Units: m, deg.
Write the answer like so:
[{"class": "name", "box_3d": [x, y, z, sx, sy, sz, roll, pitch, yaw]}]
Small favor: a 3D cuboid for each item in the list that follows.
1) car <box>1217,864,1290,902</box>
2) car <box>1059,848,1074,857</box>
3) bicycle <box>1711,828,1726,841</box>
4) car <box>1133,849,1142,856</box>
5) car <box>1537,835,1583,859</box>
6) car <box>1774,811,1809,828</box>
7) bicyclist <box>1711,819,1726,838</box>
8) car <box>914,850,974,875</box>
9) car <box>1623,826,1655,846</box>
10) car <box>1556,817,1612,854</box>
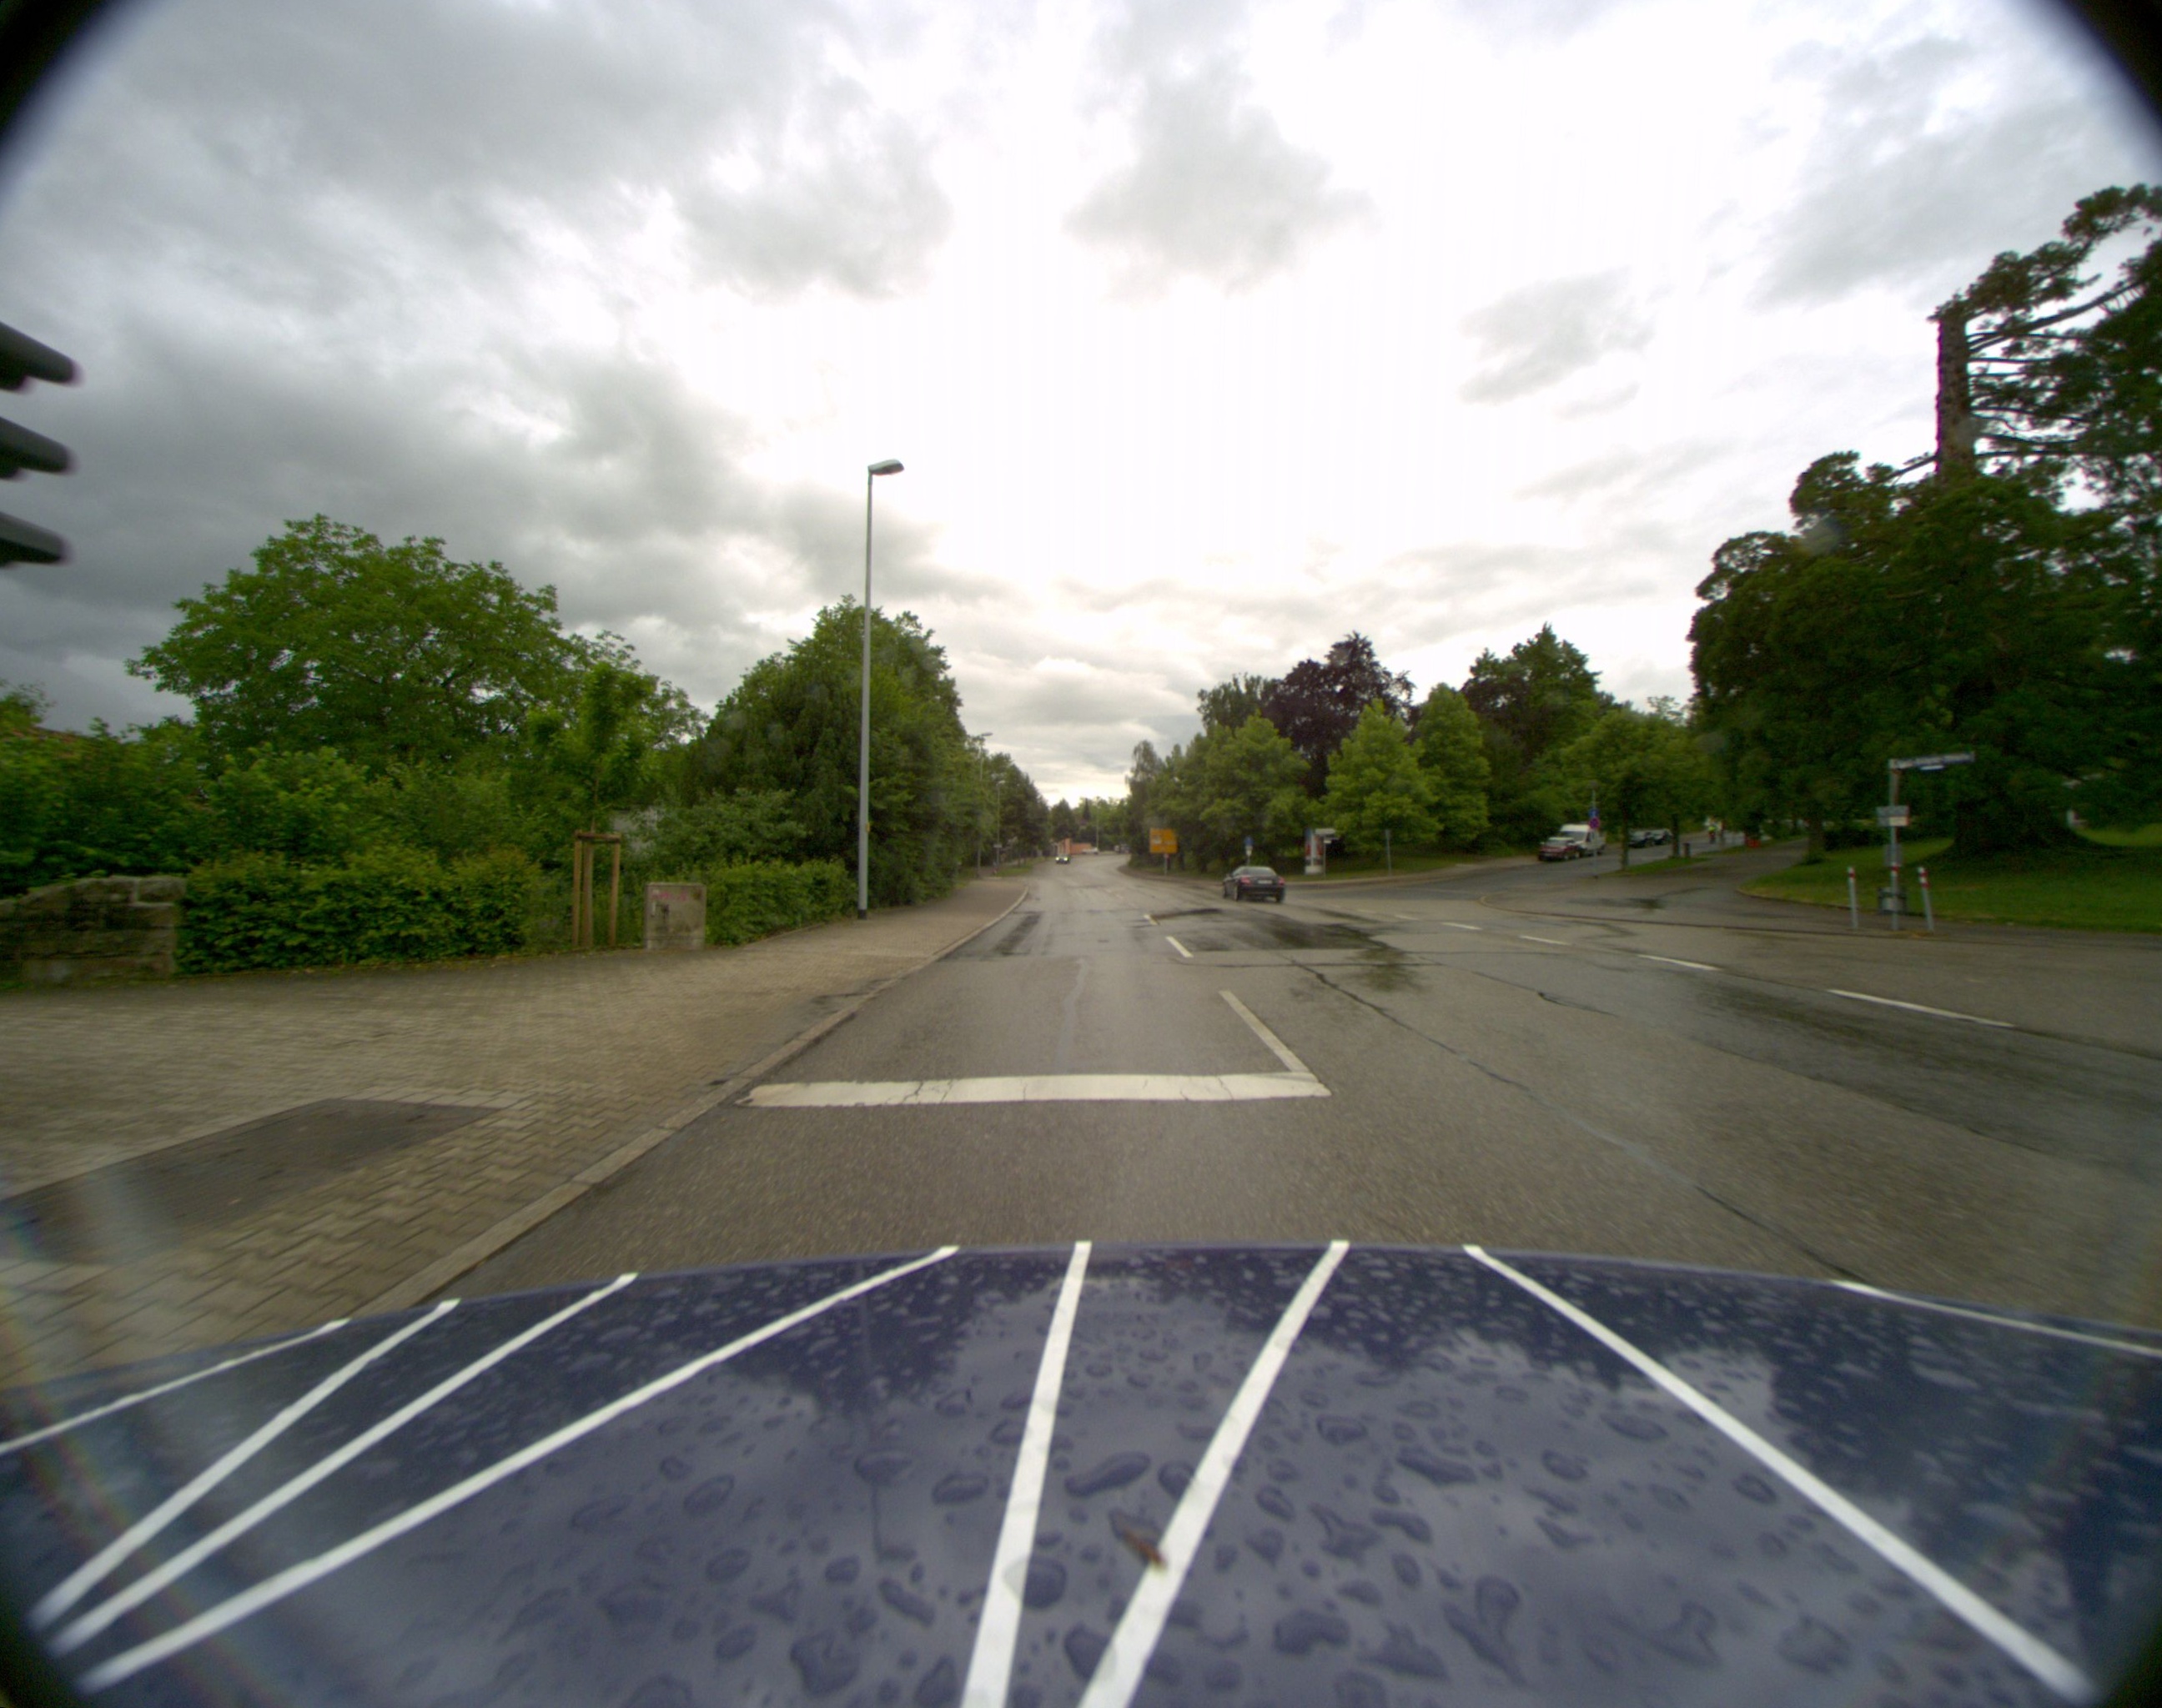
[{"class": "car", "box_3d": [6.508, 1.057, 29.136, 1.665, 1.299, 4.082, 2, -1, -3]}, {"class": "car", "box_3d": [-2.288, -0.173, 122.954, 1.861, 1.406, 4.389, 0, 0, 8]}, {"class": "bicycle", "box_3d": [56.824, -1.740, 67.743, 0.852, 1.149, 2.042, 2, 3, 43]}, {"class": "car", "box_3d": [11.438, -0.263, 153.773, 1.725, 1.375, 4.142, 2, 0, 7]}, {"class": "car", "box_3d": [34.835, -0.545, 55.214, 1.972, 1.658, 4.008, -1, 1, 45]}, {"class": "car", "box_3d": [75.732, -3.693, 80.954, 4.211, 1.660, 1.871, -3, 1, -35]}, {"class": "bicyclist", "box_3d": [56.840, -2.268, 67.736, 0.852, 1.746, 1.288, 2, 3, 43]}, {"class": "car", "box_3d": [-10.161, 0.670, 56.763, 1.949, 1.679, 4.914, -1, -2, 26]}, {"class": "car", "box_3d": [50.038, -1.591, 68.095, 1.822, 1.658, 4.008, -1, 1, 43]}, {"class": "car", "box_3d": [38.946, -1.431, 58.816, 5.681, 2.684, 2.151, -2, 1, -41]}]
